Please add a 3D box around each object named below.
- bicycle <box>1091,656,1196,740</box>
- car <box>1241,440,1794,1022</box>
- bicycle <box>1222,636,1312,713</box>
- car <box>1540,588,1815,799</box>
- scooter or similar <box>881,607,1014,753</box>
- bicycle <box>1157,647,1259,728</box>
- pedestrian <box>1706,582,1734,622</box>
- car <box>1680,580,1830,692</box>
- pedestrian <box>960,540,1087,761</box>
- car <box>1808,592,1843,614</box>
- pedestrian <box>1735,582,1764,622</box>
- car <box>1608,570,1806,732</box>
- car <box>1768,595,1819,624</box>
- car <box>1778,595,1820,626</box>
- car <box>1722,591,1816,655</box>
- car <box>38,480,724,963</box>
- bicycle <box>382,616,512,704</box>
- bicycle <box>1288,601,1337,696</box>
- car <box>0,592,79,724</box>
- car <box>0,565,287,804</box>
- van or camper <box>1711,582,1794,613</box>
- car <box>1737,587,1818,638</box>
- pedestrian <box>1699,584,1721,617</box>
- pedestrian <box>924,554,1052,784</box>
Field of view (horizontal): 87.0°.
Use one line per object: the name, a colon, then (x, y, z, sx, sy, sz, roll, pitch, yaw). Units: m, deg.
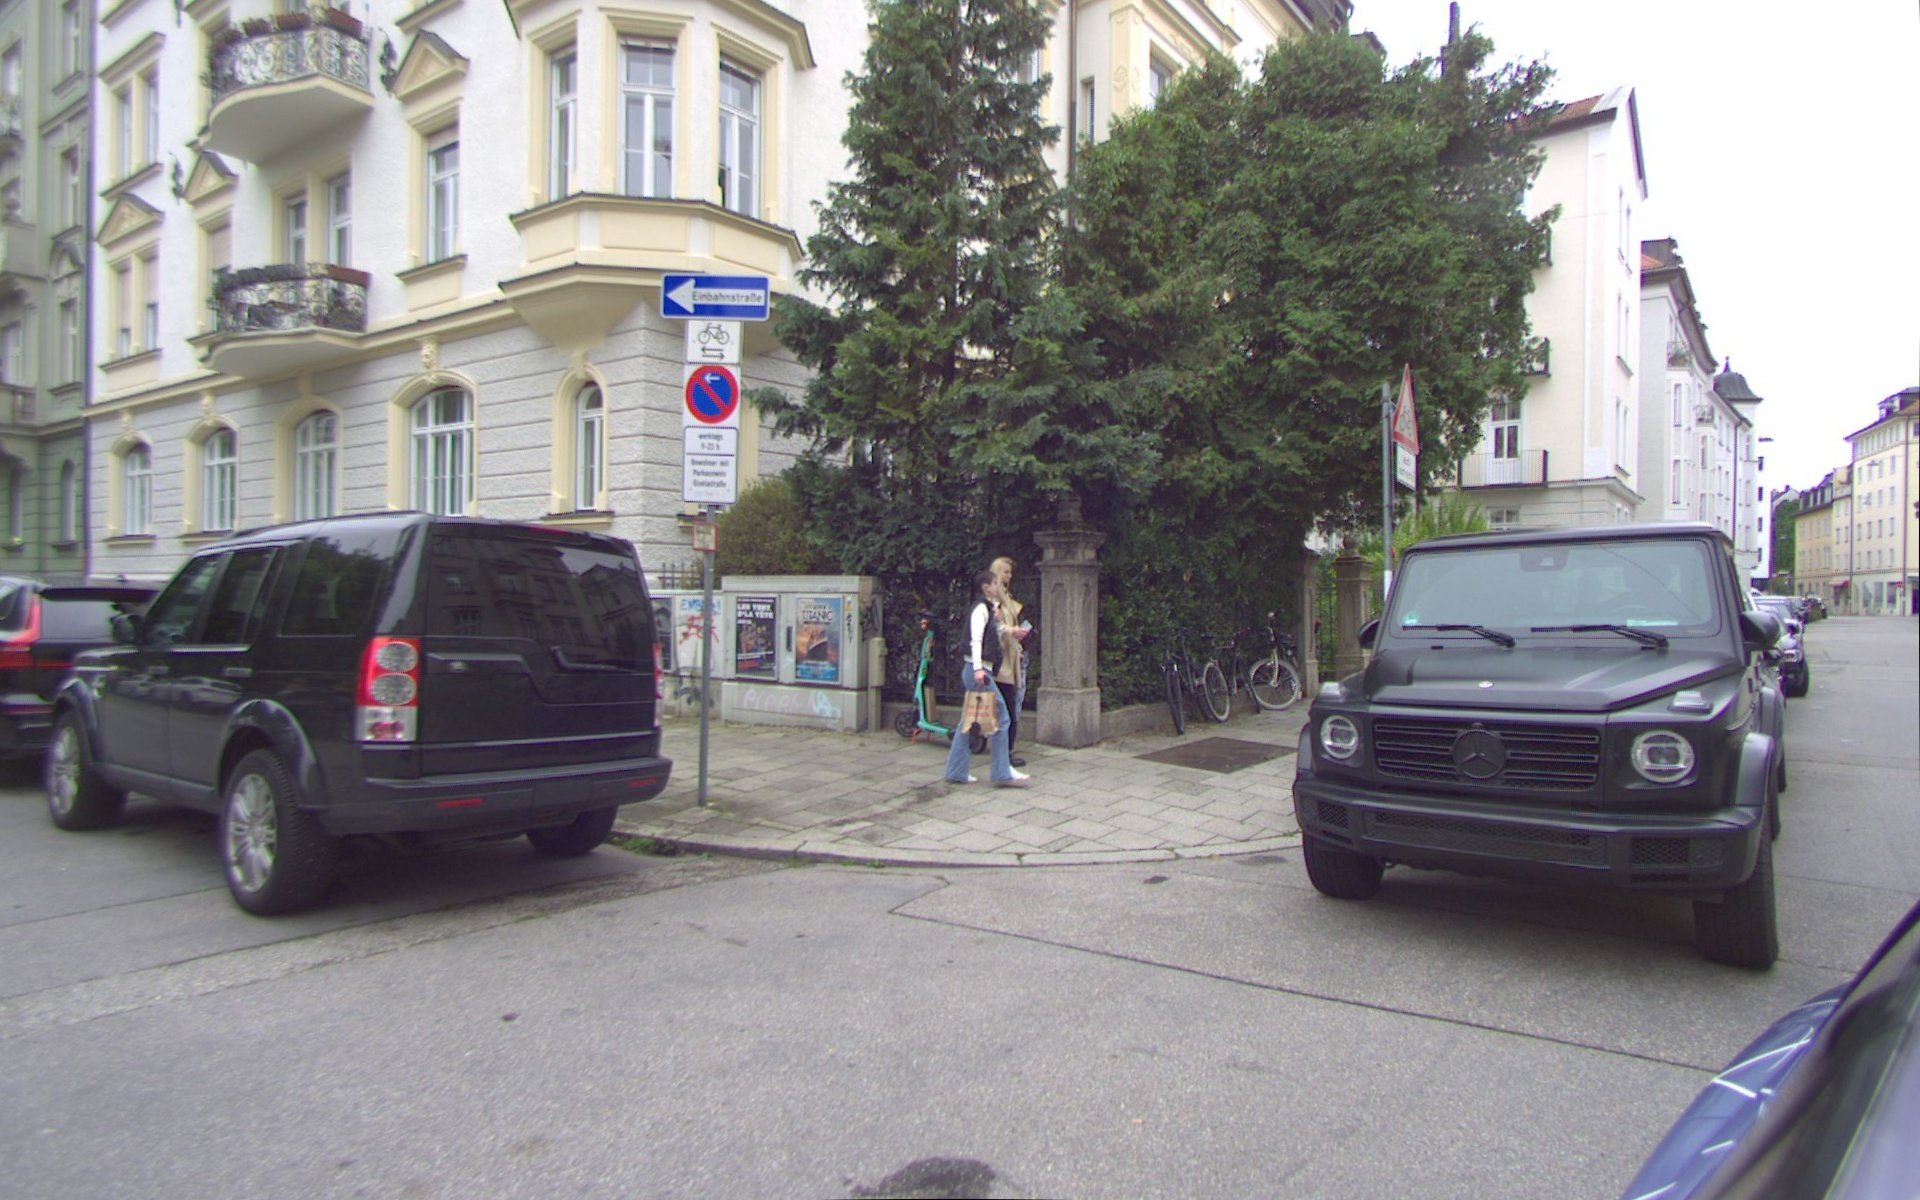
bicycle: (1.804, 0.931, 9.872, 0.512, 0.691, 1.106, 0, 1, 41)
car: (3.530, 0.477, 5.860, 1.948, 1.980, 4.597, -1, -2, 40)
bicycle: (3.629, 0.856, 11.910, 0.512, 0.791, 1.334, 0, 1, 41)
car: (6.707, 0.697, 9.406, 1.719, 1.538, 3.580, -3, -1, 39)
scooter or similar: (-0.135, 0.688, 9.243, 1.347, 1.204, 0.365, 2, 2, 44)
bicycle: (2.677, 0.912, 10.858, 0.512, 0.744, 1.334, 0, 1, 41)
pedestrian: (34.701, 0.085, 46.220, 1.093, 1.834, 0.884, 0, 0, -44)
car: (13.329, 0.550, 17.102, 1.745, 1.631, 4.364, -2, -1, 37)
pedestrian: (0.525, 0.378, 8.404, 0.734, 1.723, 0.685, 4, 3, 44)
car: (66.207, 0.246, 77.389, 1.835, 1.640, 4.031, -3, -2, 42)
pedestrian: (36.137, 0.100, 46.337, 1.092, 1.809, 0.884, 0, 0, -43)
car: (9.996, 0.555, 13.410, 1.721, 1.791, 4.348, -3, -1, 41)
car: (43.697, 0.489, 53.119, 1.832, 1.417, 4.906, -2, -1, 37)
car: (49.510, 0.611, 59.737, 1.797, 1.696, 4.128, -4, -2, 40)
car: (20.950, 0.546, 26.153, 1.782, 1.523, 4.005, -1, 0, 40)
car: (-3.732, 0.467, 6.225, 4.514, 1.975, 1.879, 1, -1, 35)
bicycle: (-7.210, 0.805, 14.179, 2.396, 1.119, 0.532, 0, 0, 34)
bicycle: (4.468, 0.575, 12.775, 0.508, 1.108, 1.344, 0, 0, 22)
car: (-12.742, 0.626, 12.435, 4.086, 1.459, 1.939, 1, -1, 35)
car: (-7.968, 0.567, 8.960, 4.224, 1.670, 1.939, 1, -1, 35)
van or camper: (72.623, -0.237, 92.848, 5.832, 2.749, 2.275, 1, -2, 35)
car: (27.751, 0.415, 34.299, 1.821, 1.589, 4.332, -3, -2, 42)
pedestrian: (42.547, 0.027, 57.394, 0.882, 1.836, 1.094, 0, 0, 42)
pedestrian: (0.220, 0.484, 7.749, 0.703, 1.648, 0.681, 2, 2, 33)
